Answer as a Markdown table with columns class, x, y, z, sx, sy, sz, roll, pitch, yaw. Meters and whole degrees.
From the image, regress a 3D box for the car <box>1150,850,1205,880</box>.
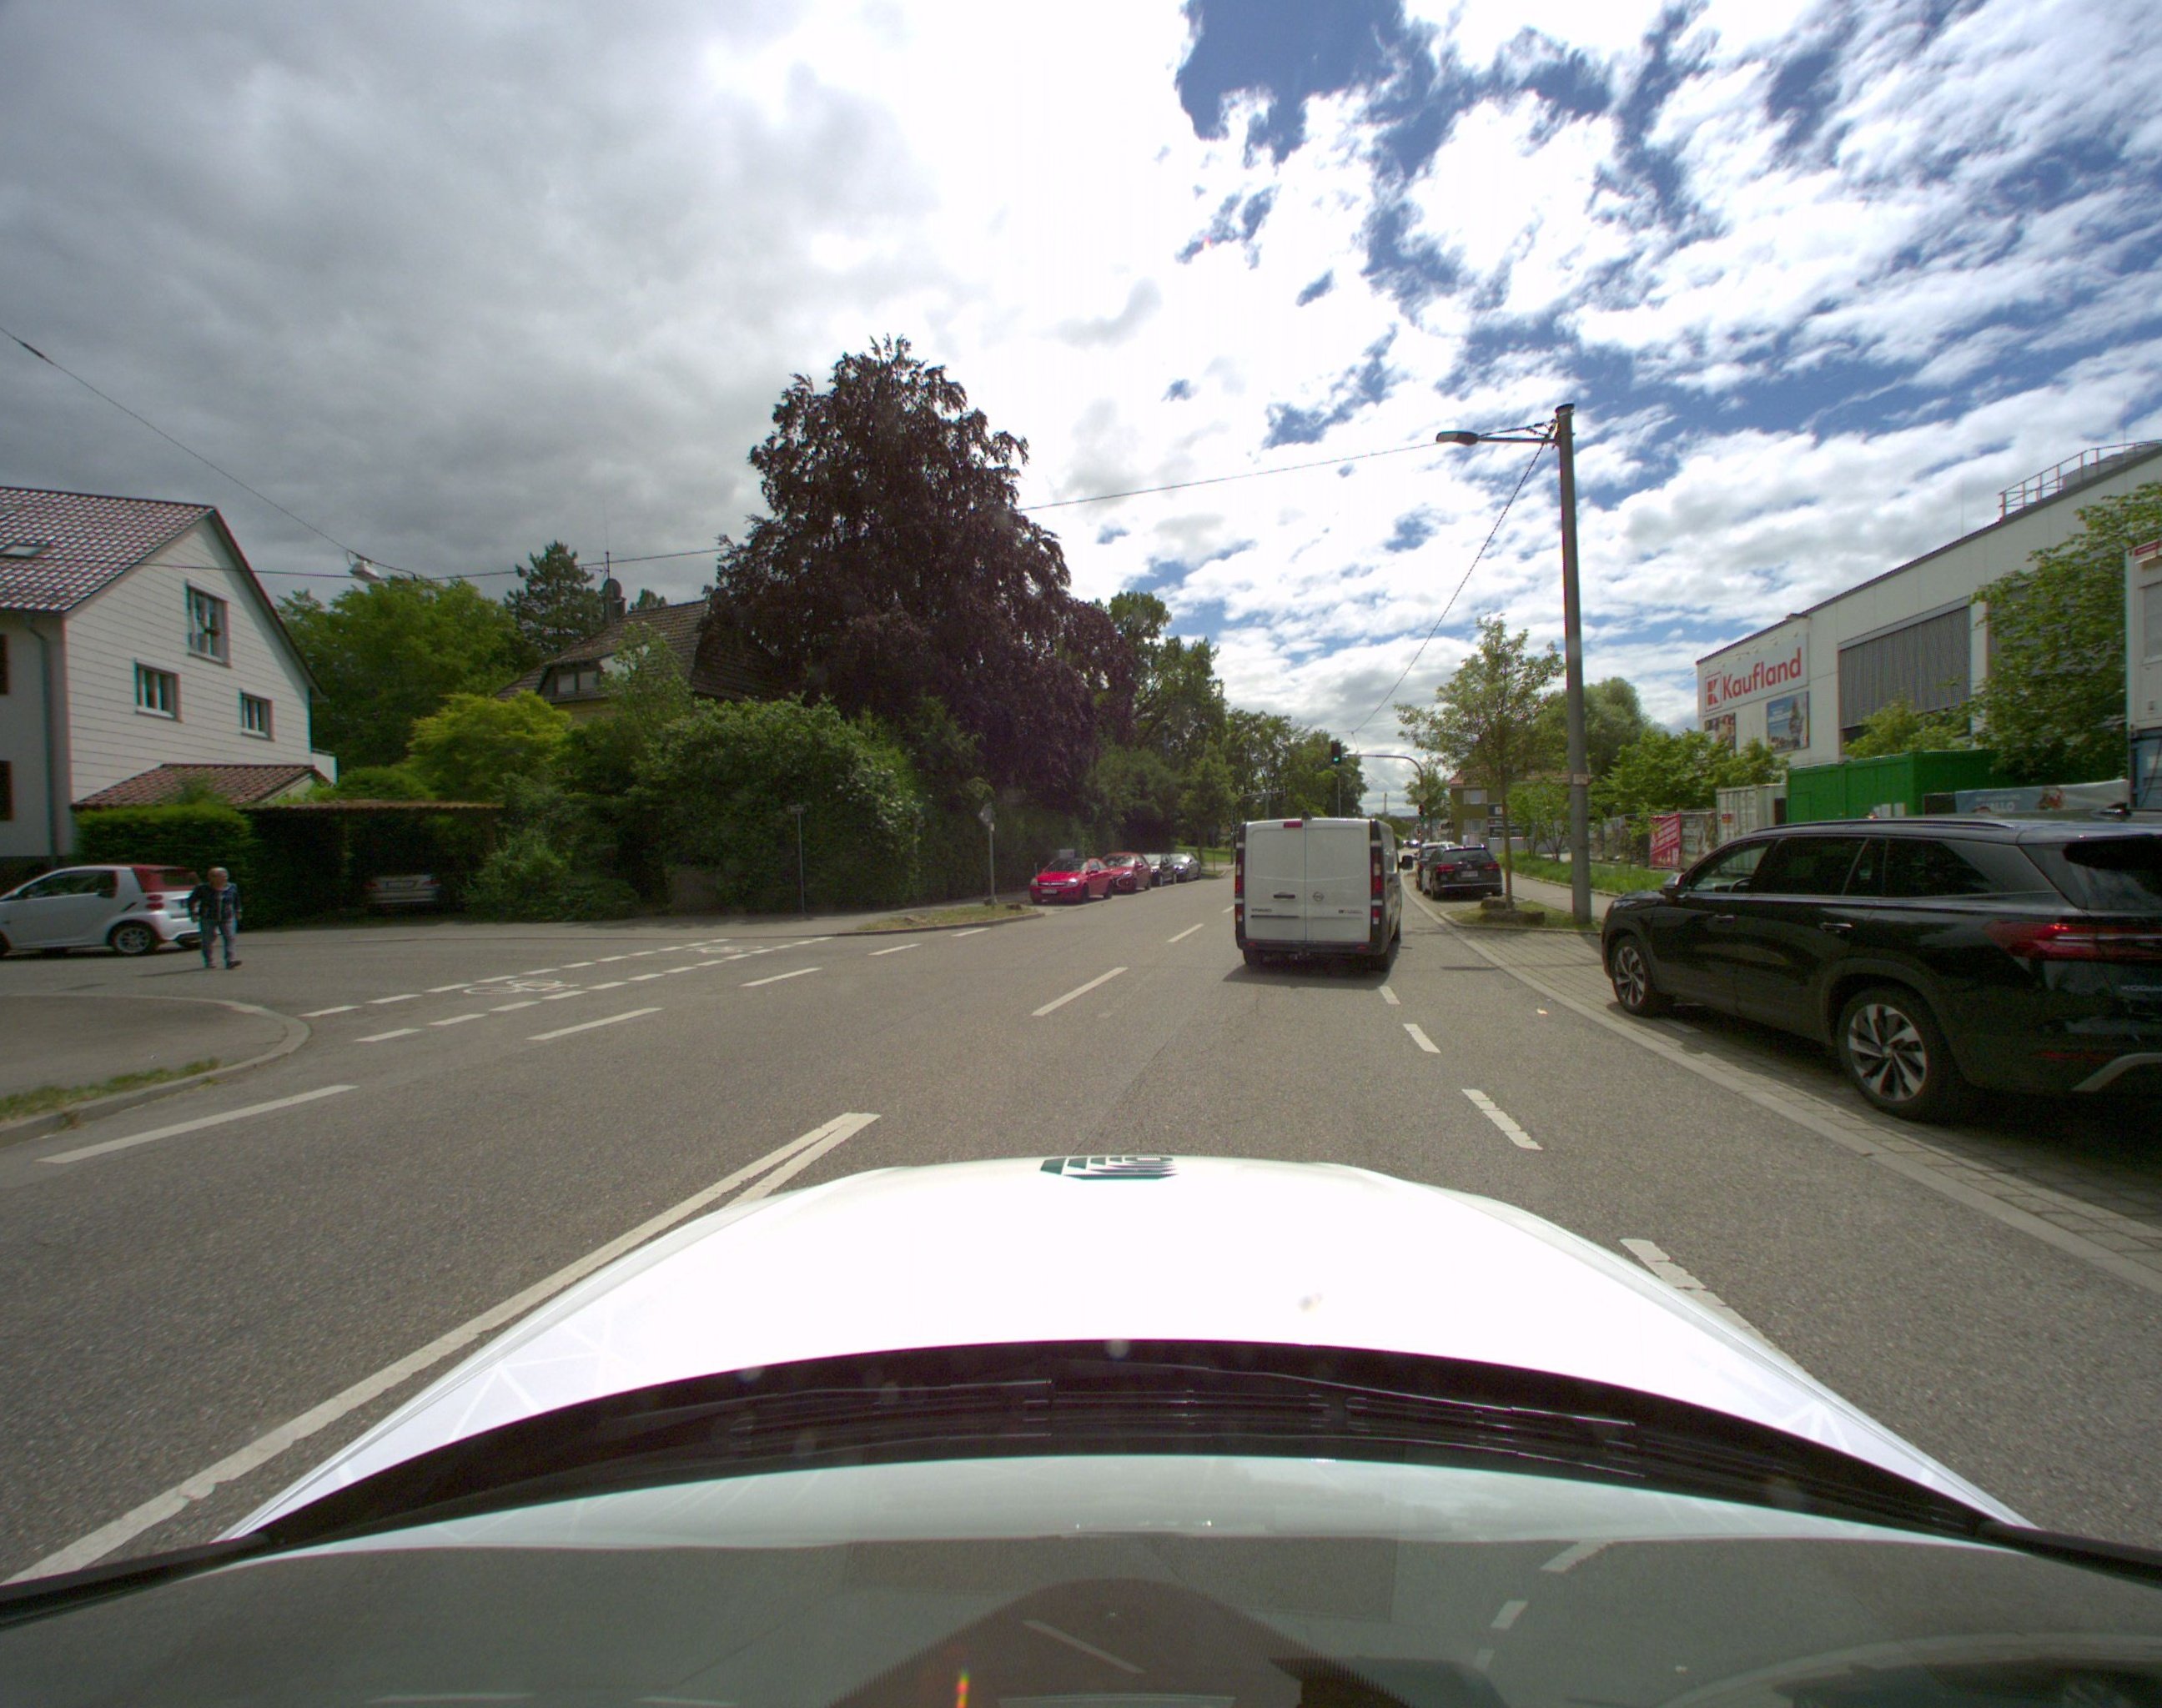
| class | x | y | z | sx | sy | sz | roll | pitch | yaw |
| --- | --- | --- | --- | --- | --- | --- | --- | --- | --- |
| car | 4.812 | 0.489 | 39.990 | 1.681 | 1.365 | 4.709 | 0 | 1 | 19 |

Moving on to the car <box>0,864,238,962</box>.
| class | x | y | z | sx | sy | sz | roll | pitch | yaw |
| --- | --- | --- | --- | --- | --- | --- | --- | --- | --- |
| car | -17.064 | 0.971 | 14.243 | 2.777 | 1.555 | 1.580 | 0 | 0 | -19 |

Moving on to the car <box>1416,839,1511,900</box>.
| class | x | y | z | sx | sy | sz | roll | pitch | yaw |
| --- | --- | --- | --- | --- | --- | --- | --- | --- | --- |
| car | 10.876 | 0.396 | 23.472 | 1.750 | 1.477 | 4.958 | -4 | -1 | 18 |

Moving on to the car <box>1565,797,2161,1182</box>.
| class | x | y | z | sx | sy | sz | roll | pitch | yaw |
| --- | --- | --- | --- | --- | --- | --- | --- | --- | --- |
| car | 5.486 | 0.531 | 5.748 | 1.867 | 1.621 | 4.860 | -3 | 0 | 10 |

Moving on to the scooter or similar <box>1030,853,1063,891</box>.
| class | x | y | z | sx | sy | sz | roll | pitch | yaw |
| --- | --- | --- | --- | --- | --- | --- | --- | --- | --- |
| scooter or similar | -1.338 | 0.680 | 31.972 | 0.664 | 1.412 | 1.658 | -1 | 1 | 21 |

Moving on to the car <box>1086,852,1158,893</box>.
| class | x | y | z | sx | sy | sz | roll | pitch | yaw |
| --- | --- | --- | --- | --- | --- | --- | --- | --- | --- |
| car | 1.651 | 0.655 | 31.326 | 1.636 | 1.450 | 4.125 | 0 | 0 | 19 |

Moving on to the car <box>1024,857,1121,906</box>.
| class | x | y | z | sx | sy | sz | roll | pitch | yaw |
| --- | --- | --- | --- | --- | --- | --- | --- | --- | --- |
| car | -0.164 | 0.808 | 26.312 | 1.647 | 1.378 | 4.589 | 0 | 0 | 20 |

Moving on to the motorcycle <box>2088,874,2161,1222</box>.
| class | x | y | z | sx | sy | sz | roll | pitch | yaw |
| --- | --- | --- | --- | --- | --- | --- | --- | --- | --- |
| motorcycle | 4.462 | 0.714 | 2.077 | 1.065 | 1.305 | 2.265 | -4 | 0 | 8 |

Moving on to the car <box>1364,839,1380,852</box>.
| class | x | y | z | sx | sy | sz | roll | pitch | yaw |
| --- | --- | --- | --- | --- | --- | --- | --- | --- | --- |
| car | 36.744 | -1.085 | 102.887 | 1.818 | 1.616 | 4.174 | -3 | 0 | 20 |

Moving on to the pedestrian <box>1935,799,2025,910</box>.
| class | x | y | z | sx | sy | sz | roll | pitch | yaw |
| --- | --- | --- | --- | --- | --- | --- | --- | --- | --- |
| pedestrian | 14.153 | 0.010 | 12.841 | 0.645 | 1.696 | 0.728 | -1 | 0 | 17 |

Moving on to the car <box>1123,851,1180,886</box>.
| class | x | y | z | sx | sy | sz | roll | pitch | yaw |
| --- | --- | --- | --- | --- | --- | --- | --- | --- | --- |
| car | 3.162 | 0.617 | 35.983 | 1.582 | 1.450 | 3.614 | 0 | 0 | 21 |

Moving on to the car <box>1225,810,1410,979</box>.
| class | x | y | z | sx | sy | sz | roll | pitch | yaw |
| --- | --- | --- | --- | --- | --- | --- | --- | --- | --- |
| car | 3.697 | 0.429 | 12.041 | 1.921 | 1.960 | 4.861 | 1 | 1 | 25 |

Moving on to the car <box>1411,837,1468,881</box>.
| class | x | y | z | sx | sy | sz | roll | pitch | yaw |
| --- | --- | --- | --- | --- | --- | --- | --- | --- | --- |
| car | 14.655 | 0.179 | 33.488 | 1.722 | 1.616 | 4.408 | -4 | -1 | 20 |

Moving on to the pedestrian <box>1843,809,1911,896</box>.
| class | x | y | z | sx | sy | sz | roll | pitch | yaw |
| --- | --- | --- | --- | --- | --- | --- | --- | --- | --- |
| pedestrian | 16.021 | -0.036 | 16.413 | 0.646 | 1.697 | 0.848 | -1 | 0 | 17 |

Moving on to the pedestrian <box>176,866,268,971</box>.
| class | x | y | z | sx | sy | sz | roll | pitch | yaw |
| --- | --- | --- | --- | --- | --- | --- | --- | --- | --- |
| pedestrian | -12.971 | 0.950 | 12.322 | 0.731 | 1.508 | 0.623 | -1 | 0 | -20 |

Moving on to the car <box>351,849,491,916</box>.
| class | x | y | z | sx | sy | sz | roll | pitch | yaw |
| --- | --- | --- | --- | --- | --- | --- | --- | --- | --- |
| car | -16.677 | 0.639 | 20.796 | 1.730 | 1.509 | 3.969 | -1 | 1 | -23 |

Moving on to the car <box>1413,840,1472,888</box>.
| class | x | y | z | sx | sy | sz | roll | pitch | yaw |
| --- | --- | --- | --- | --- | --- | --- | --- | --- | --- |
| car | 12.474 | 0.319 | 28.264 | 1.555 | 1.493 | 4.020 | -3 | 0 | 20 |
